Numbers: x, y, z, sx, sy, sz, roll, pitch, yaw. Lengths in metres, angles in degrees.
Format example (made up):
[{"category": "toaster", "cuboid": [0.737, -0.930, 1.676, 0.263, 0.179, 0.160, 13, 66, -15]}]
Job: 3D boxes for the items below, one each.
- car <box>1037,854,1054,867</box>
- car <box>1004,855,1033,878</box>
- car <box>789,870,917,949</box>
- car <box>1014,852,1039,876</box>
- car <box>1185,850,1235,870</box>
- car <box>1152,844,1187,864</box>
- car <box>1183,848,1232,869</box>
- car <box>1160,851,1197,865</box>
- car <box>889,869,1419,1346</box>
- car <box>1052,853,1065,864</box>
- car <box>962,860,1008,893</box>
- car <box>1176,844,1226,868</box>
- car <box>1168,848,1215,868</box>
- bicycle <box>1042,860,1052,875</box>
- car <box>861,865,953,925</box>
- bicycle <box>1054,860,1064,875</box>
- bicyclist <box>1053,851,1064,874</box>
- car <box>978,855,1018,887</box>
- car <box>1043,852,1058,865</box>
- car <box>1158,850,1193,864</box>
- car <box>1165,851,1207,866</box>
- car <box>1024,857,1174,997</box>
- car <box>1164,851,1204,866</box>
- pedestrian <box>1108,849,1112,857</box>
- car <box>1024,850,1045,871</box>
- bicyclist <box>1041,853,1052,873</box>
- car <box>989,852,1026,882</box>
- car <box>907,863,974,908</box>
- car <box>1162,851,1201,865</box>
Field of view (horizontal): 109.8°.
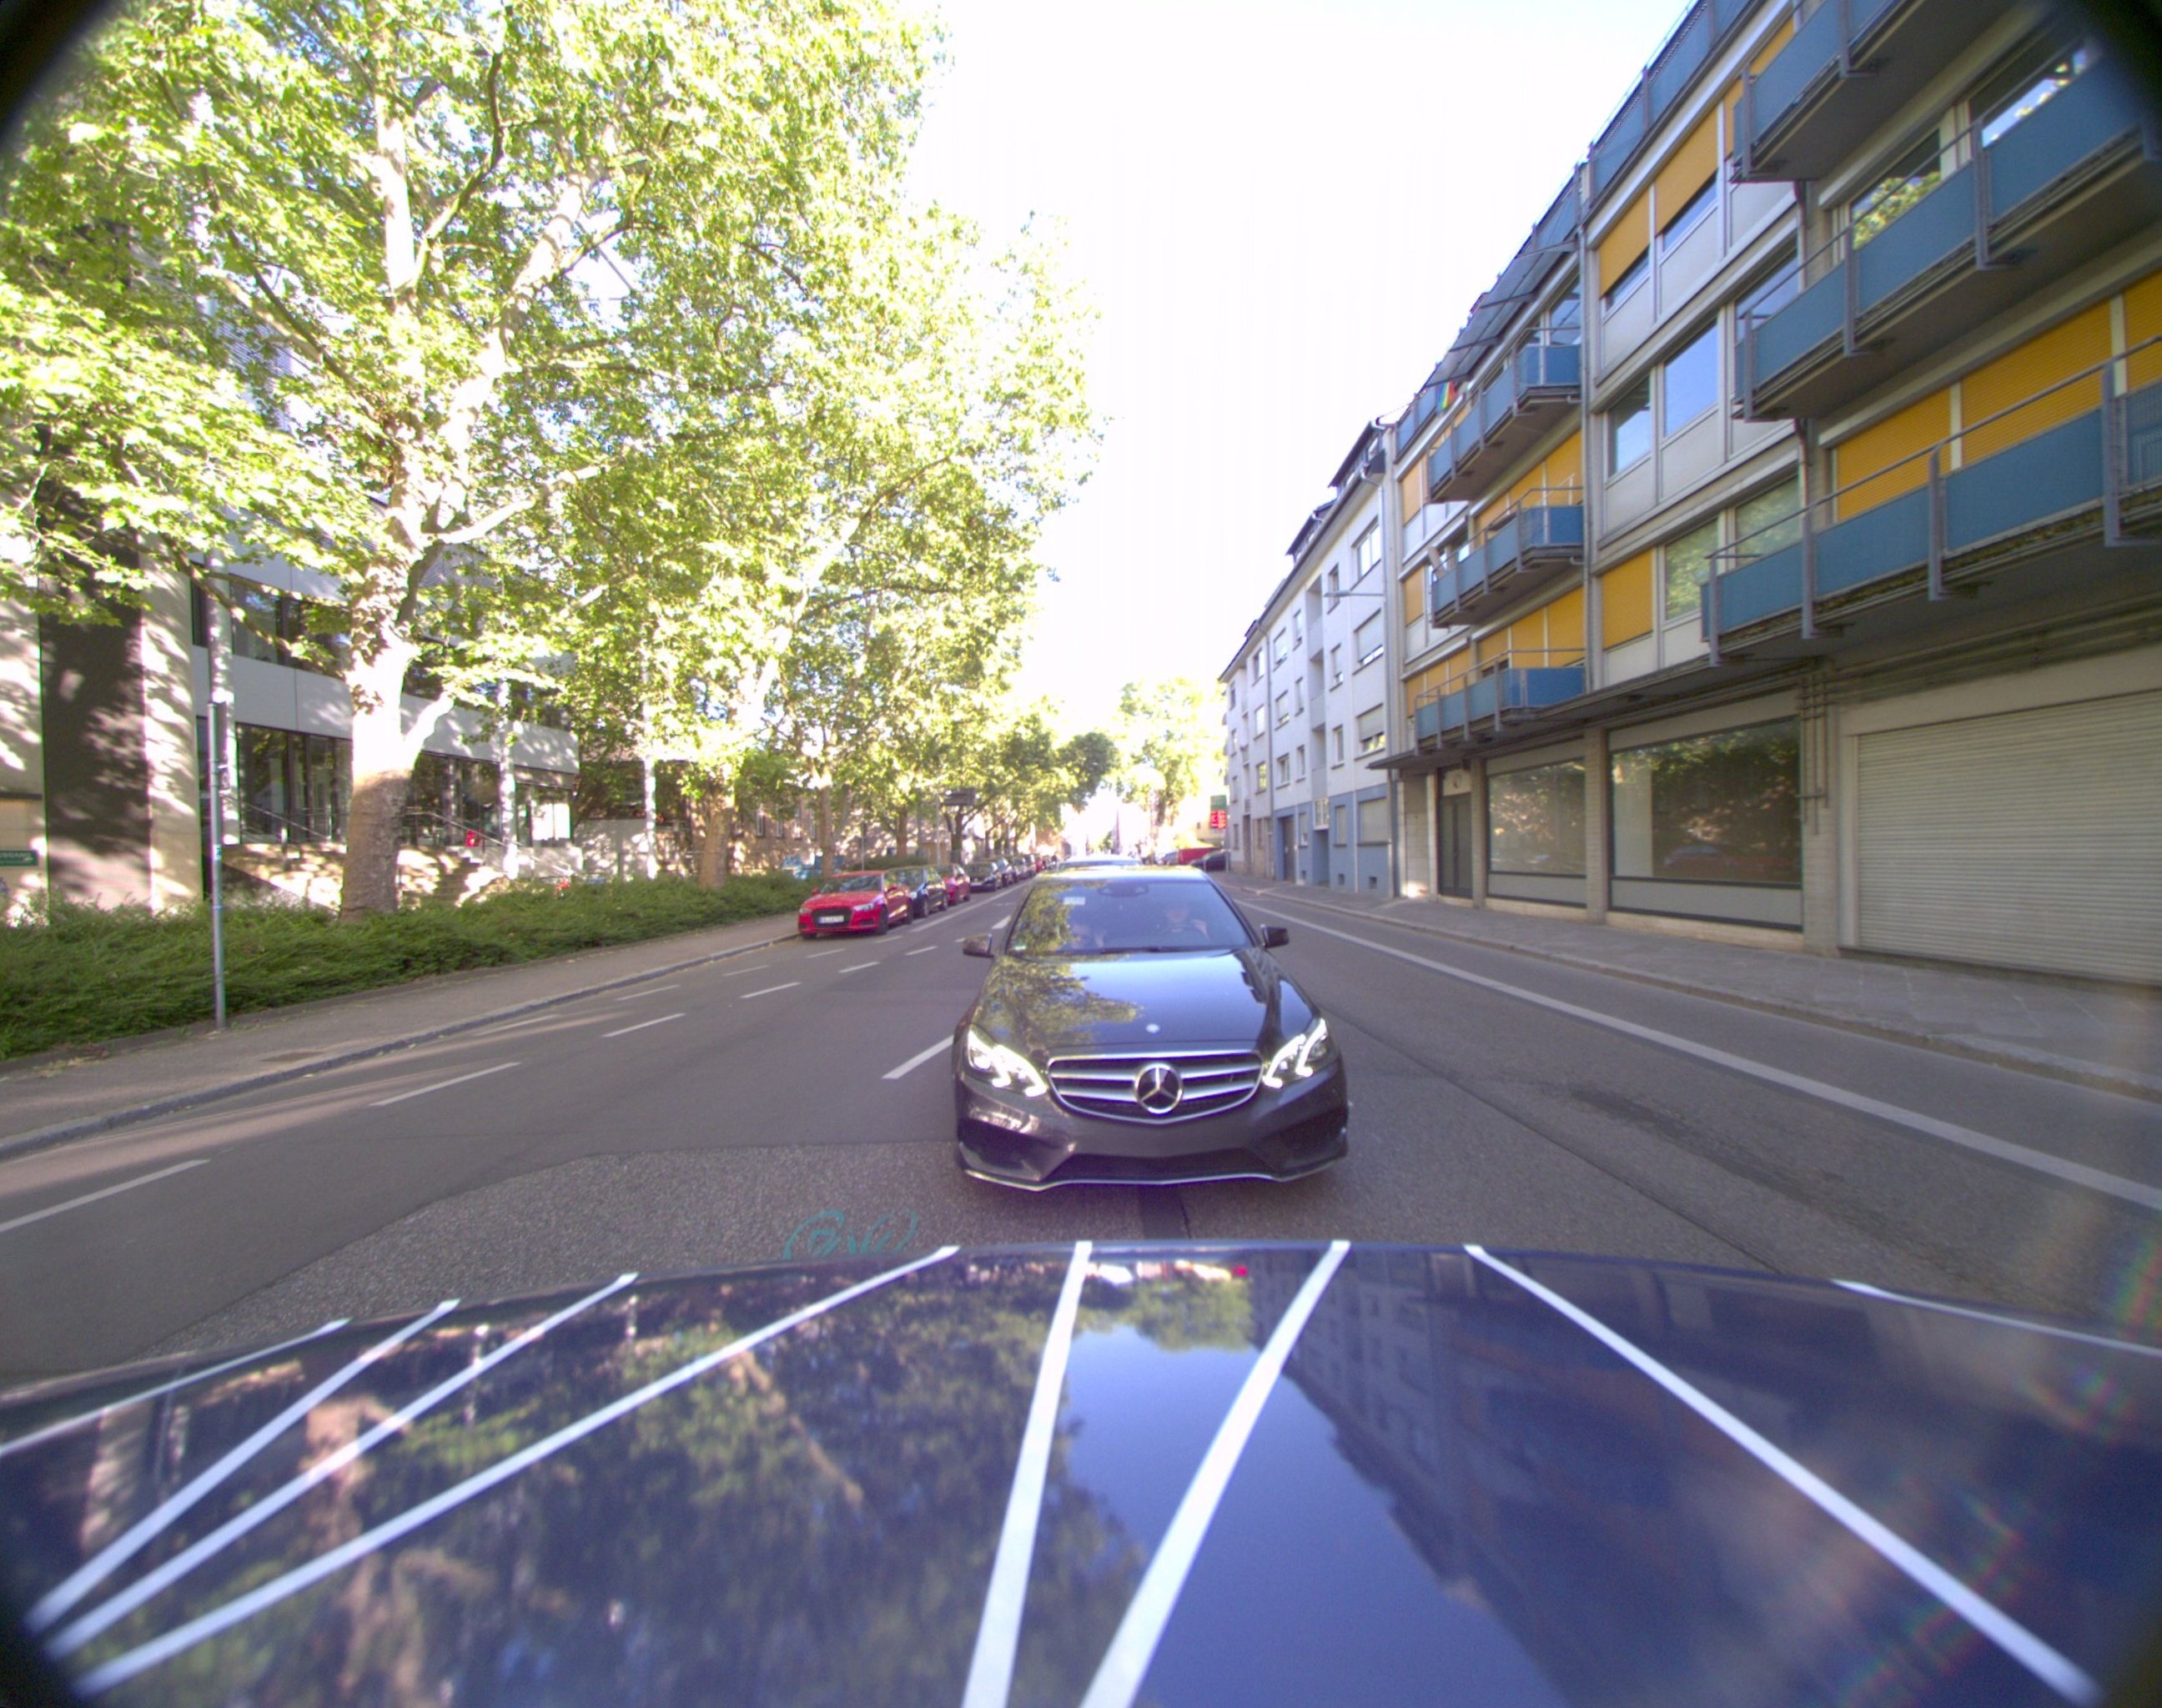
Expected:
[{"category": "car", "cuboid": [-4.058, 0.734, 87.075, 1.639, 1.493, 3.752, -2, 0, 0]}, {"category": "car", "cuboid": [-4.429, 0.868, 54.525, 1.686, 1.553, 3.868, -2, 0, 0]}, {"category": "car", "cuboid": [-5.131, 1.187, 17.672, 1.724, 1.412, 4.030, -4, 0, -1]}, {"category": "car", "cuboid": [-4.221, 0.745, 59.381, 1.663, 1.704, 3.836, -2, 0, 0]}, {"category": "car", "cuboid": [9.956, 0.452, 58.743, 3.598, 1.401, 1.534, -2, 0, 2]}, {"category": "car", "cuboid": [10.395, 0.015, 89.322, 3.905, 2.164, 1.725, -2, 1, 2]}, {"category": "car", "cuboid": [10.125, 0.351, 61.148, 3.668, 1.501, 1.602, -2, 1, 2]}, {"category": "car", "cuboid": [10.524, 0.392, 82.144, 3.905, 1.325, 1.525, -2, 1, 2]}, {"category": "car", "cuboid": [0.256, 0.945, 4.842, 1.828, 1.495, 4.293, -2, 1, 0]}, {"category": "car", "cuboid": [-3.136, 0.636, 106.840, 1.686, 1.475, 3.836, -2, 0, 0]}, {"category": "car", "cuboid": [-4.667, 1.043, 37.416, 1.686, 1.443, 4.000, -2, 0, 0]}, {"category": "car", "cuboid": [10.070, 0.159, 63.993, 3.905, 1.895, 1.749, -2, 1, 2]}, {"category": "car", "cuboid": [9.711, 0.324, 66.788, 3.905, 1.577, 1.603, -2, 1, 2]}, {"category": "bicycle", "cuboid": [-2.613, 1.036, 59.132, 0.667, 1.093, 1.814, -2, 1, 0]}, {"category": "car", "cuboid": [-5.013, 1.126, 22.431, 1.686, 1.458, 4.000, -3, 0, 0]}, {"category": "bicycle", "cuboid": [-1.717, 1.065, 58.715, 0.667, 1.093, 1.814, -2, 1, 0]}, {"category": "bicyclist", "cuboid": [-1.738, 0.650, 58.572, 0.756, 1.714, 0.768, -2, 1, -1]}, {"category": "car", "cuboid": [-4.539, 0.902, 42.075, 1.686, 1.610, 3.836, -2, 0, 0]}, {"category": "car", "cuboid": [-3.797, 0.585, 95.698, 1.686, 1.546, 3.836, -2, 0, 0]}, {"category": "car", "cuboid": [10.535, 0.324, 84.829, 3.782, 1.432, 1.539, -2, 1, 2]}, {"category": "car", "cuboid": [10.368, 0.444, 74.979, 3.905, 1.366, 1.594, -2, 1, 2]}, {"category": "car", "cuboid": [0.208, 0.885, 11.193, 1.732, 1.538, 4.293, -2, 1, 0]}, {"category": "car", "cuboid": [10.399, 0.420, 77.001, 3.905, 1.366, 1.594, -2, 1, 2]}, {"category": "pedestrian", "cuboid": [7.430, -0.299, 194.647, 0.884, 2.108, 0.821, -2, 1, 1]}, {"category": "car", "cuboid": [-4.256, 0.580, 70.238, 1.646, 1.839, 3.836, -2, 0, 0]}, {"category": "bicyclist", "cuboid": [-2.653, 0.675, 59.088, 0.756, 1.512, 0.768, -2, 1, -1]}, {"category": "car", "cuboid": [-4.597, 0.766, 48.201, 1.819, 1.758, 4.431, -2, 0, 0]}, {"category": "car", "cuboid": [-5.010, 1.090, 27.616, 1.666, 1.426, 3.781, -2, 0, 0]}, {"category": "car", "cuboid": [10.515, 0.419, 79.755, 3.905, 1.325, 1.525, -2, 1, 2]}]
